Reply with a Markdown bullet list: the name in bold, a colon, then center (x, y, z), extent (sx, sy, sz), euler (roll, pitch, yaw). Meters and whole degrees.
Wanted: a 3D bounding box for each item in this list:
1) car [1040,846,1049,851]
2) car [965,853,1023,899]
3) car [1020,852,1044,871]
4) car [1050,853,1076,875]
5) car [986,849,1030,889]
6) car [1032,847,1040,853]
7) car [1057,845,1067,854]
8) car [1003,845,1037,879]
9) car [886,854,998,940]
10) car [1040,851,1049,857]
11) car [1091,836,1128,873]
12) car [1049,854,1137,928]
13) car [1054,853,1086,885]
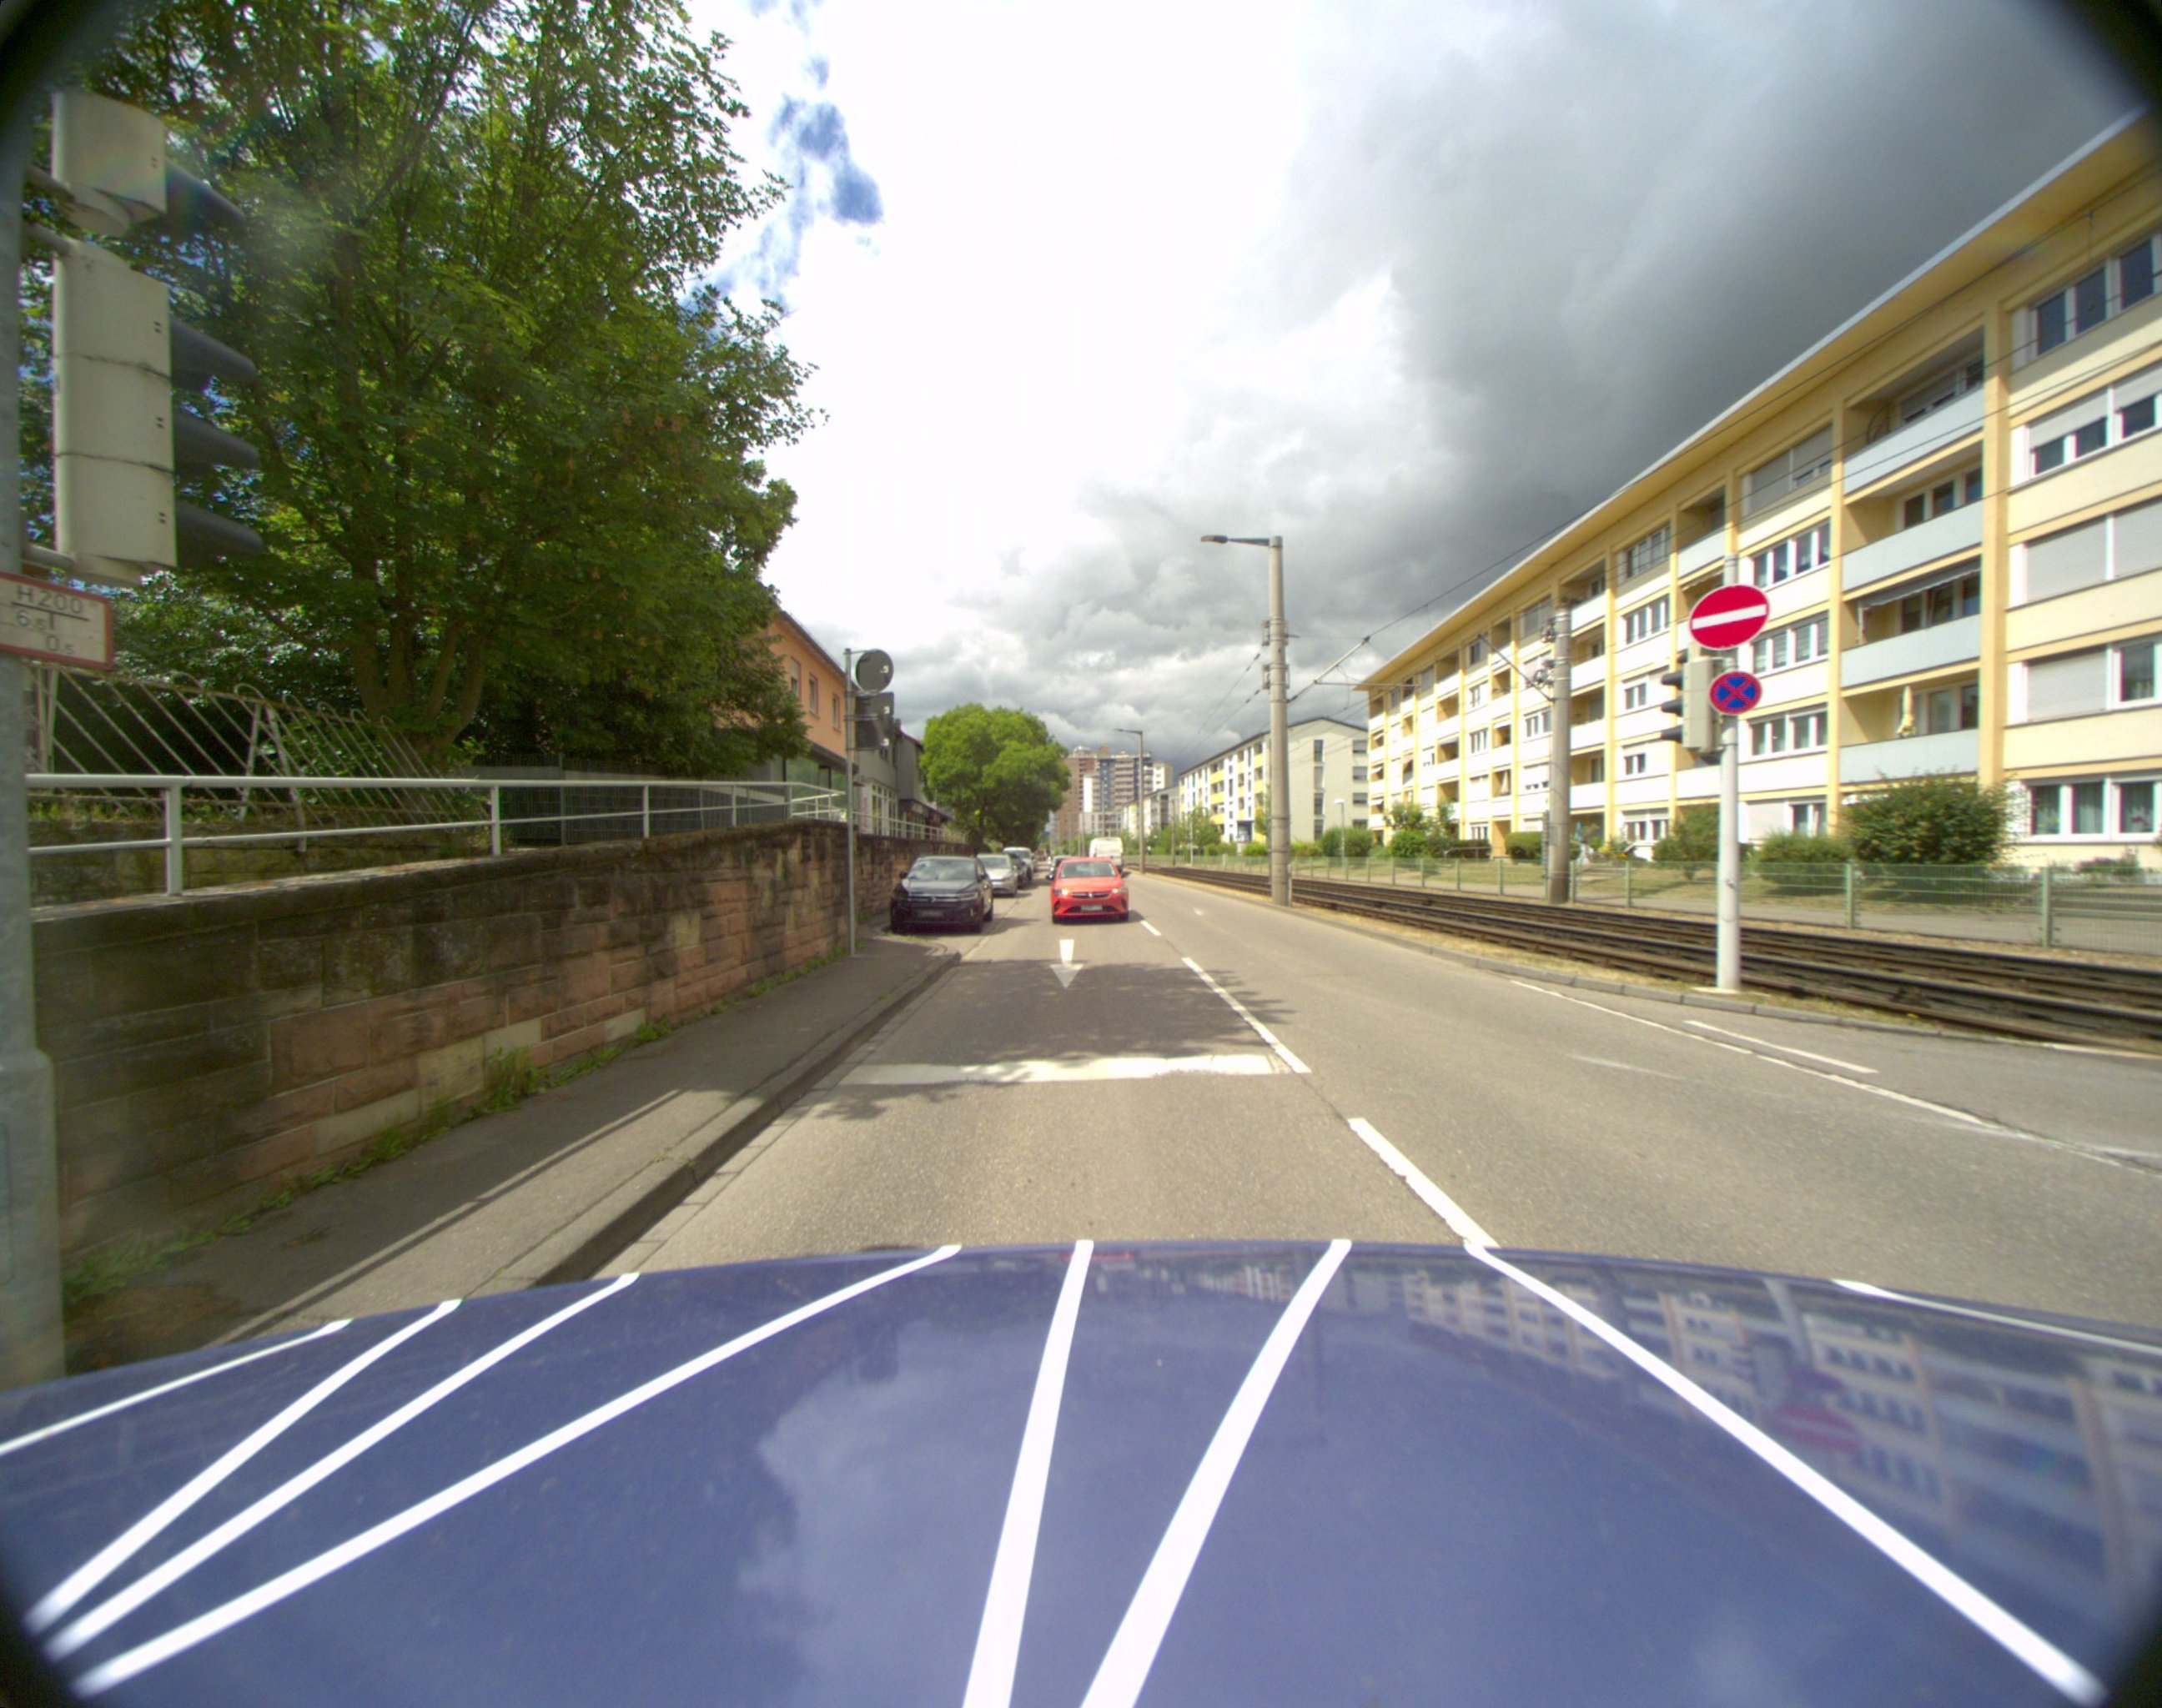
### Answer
- **car**: center (-10.919, -1.642, 227.977), extent (2.441, 1.717, 5.482), euler (0, 1, -2)
- **car**: center (-3.171, 0.774, 28.384), extent (1.760, 1.559, 4.174), euler (1, 0, -2)
- **car**: center (-4.124, 0.598, 64.656), extent (1.854, 1.508, 4.810), euler (0, 1, -2)
- **car**: center (-1.152, 0.626, 50.821), extent (1.639, 1.346, 3.999), euler (-2, 1, 0)
- **car**: center (-3.258, 0.623, 34.638), extent (1.760, 1.706, 3.999), euler (0, 1, -2)
- **car**: center (-13.732, -1.239, 231.717), extent (2.441, 1.717, 5.482), euler (0, 1, -2)
- **car**: center (-4.327, -1.004, 172.763), extent (2.237, 2.051, 4.360), euler (0, 1, -2)
- **car**: center (-3.712, 0.426, 46.718), extent (1.854, 1.997, 4.968), euler (0, 1, -2)
- **car**: center (-2.816, 0.798, 16.186), extent (1.760, 1.570, 4.021), euler (0, 1, -2)
- **car**: center (-10.345, -0.032, 214.246), extent (2.441, 1.717, 5.482), euler (0, 1, -2)
- **car**: center (1.962, -0.003, 53.434), extent (2.237, 2.460, 5.085), euler (0, 1, -2)
- **car**: center (0.189, 0.777, 17.936), extent (1.783, 1.434, 4.130), euler (-2, 1, -2)
- **car**: center (-0.578, 0.727, 38.106), extent (1.499, 1.477, 3.519), euler (0, 1, -2)
